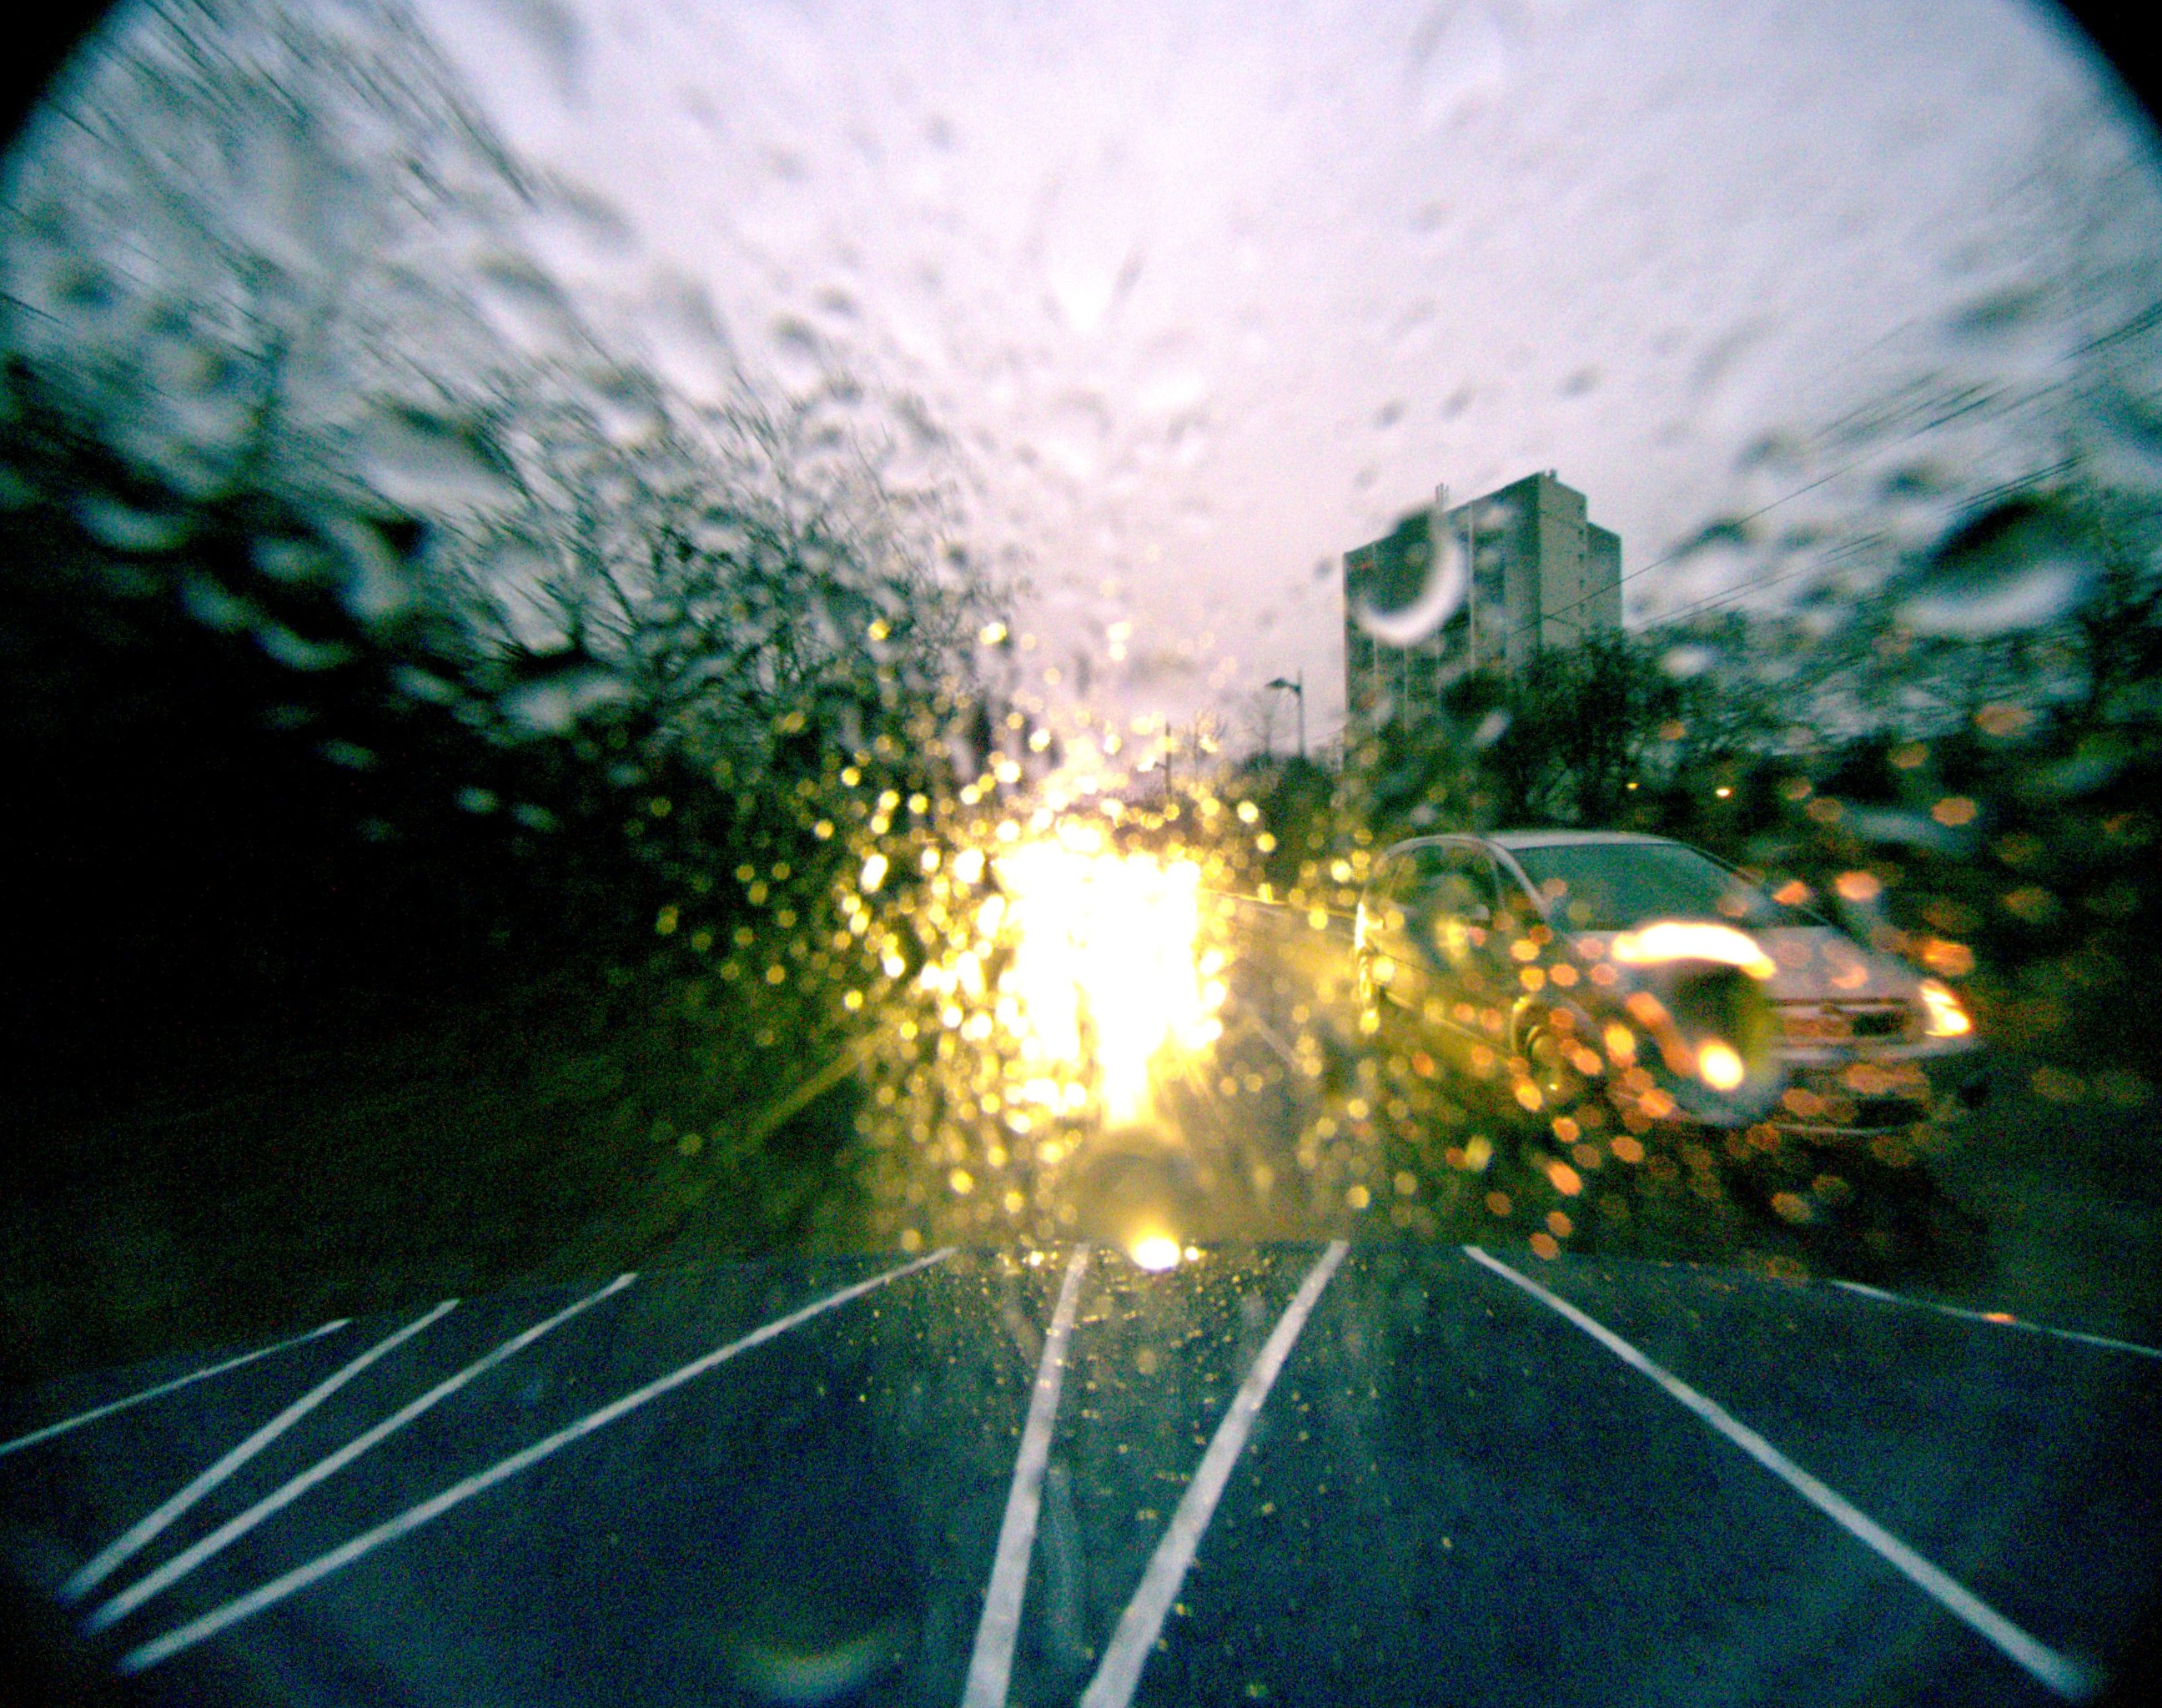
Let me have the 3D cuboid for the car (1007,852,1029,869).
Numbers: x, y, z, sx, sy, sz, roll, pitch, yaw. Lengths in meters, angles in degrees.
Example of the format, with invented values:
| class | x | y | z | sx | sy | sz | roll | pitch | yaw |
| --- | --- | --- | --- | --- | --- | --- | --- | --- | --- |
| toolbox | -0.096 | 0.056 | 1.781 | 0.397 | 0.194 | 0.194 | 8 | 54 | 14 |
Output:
| class | x | y | z | sx | sy | sz | roll | pitch | yaw |
| --- | --- | --- | --- | --- | --- | --- | --- | --- | --- |
| car | -6.294 | 0.612 | 76.345 | 1.953 | 1.590 | 4.123 | -1 | 0 | -2 |

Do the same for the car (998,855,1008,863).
| class | x | y | z | sx | sy | sz | roll | pitch | yaw |
| --- | --- | --- | --- | --- | --- | --- | --- | --- | --- |
| car | -15.743 | 1.064 | 152.446 | 1.954 | 1.590 | 4.122 | -1 | 0 | -6 |

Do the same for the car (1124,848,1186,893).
| class | x | y | z | sx | sy | sz | roll | pitch | yaw |
| --- | --- | --- | --- | --- | --- | --- | --- | --- | --- |
| car | 2.802 | 0.592 | 29.521 | 1.953 | 1.590 | 4.124 | -1 | 0 | -1 |

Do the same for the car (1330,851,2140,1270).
| class | x | y | z | sx | sy | sz | roll | pitch | yaw |
| --- | --- | --- | --- | --- | --- | --- | --- | --- | --- |
| car | 3.158 | 0.780 | 4.964 | 1.694 | 1.530 | 4.190 | -2 | 0 | 1 |

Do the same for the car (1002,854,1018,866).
| class | x | y | z | sx | sy | sz | roll | pitch | yaw |
| --- | --- | --- | --- | --- | --- | --- | --- | --- | --- |
| car | -9.456 | 0.818 | 101.450 | 1.953 | 1.590 | 4.123 | -1 | 0 | -2 |

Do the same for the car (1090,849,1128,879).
| class | x | y | z | sx | sy | sz | roll | pitch | yaw |
| --- | --- | --- | --- | --- | --- | --- | --- | --- | --- |
| car | 1.565 | 0.542 | 44.047 | 1.953 | 1.590 | 4.124 | -1 | 0 | -1 |

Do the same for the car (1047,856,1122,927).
| class | x | y | z | sx | sy | sz | roll | pitch | yaw |
| --- | --- | --- | --- | --- | --- | --- | --- | --- | --- |
| car | 0.110 | 0.855 | 19.334 | 1.679 | 1.590 | 4.045 | -1 | 0 | 1 |

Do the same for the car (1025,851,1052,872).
| class | x | y | z | sx | sy | sz | roll | pitch | yaw |
| --- | --- | --- | --- | --- | --- | --- | --- | --- | --- |
| car | -3.341 | 0.554 | 61.007 | 1.953 | 1.590 | 4.124 | -1 | 0 | -1 |
